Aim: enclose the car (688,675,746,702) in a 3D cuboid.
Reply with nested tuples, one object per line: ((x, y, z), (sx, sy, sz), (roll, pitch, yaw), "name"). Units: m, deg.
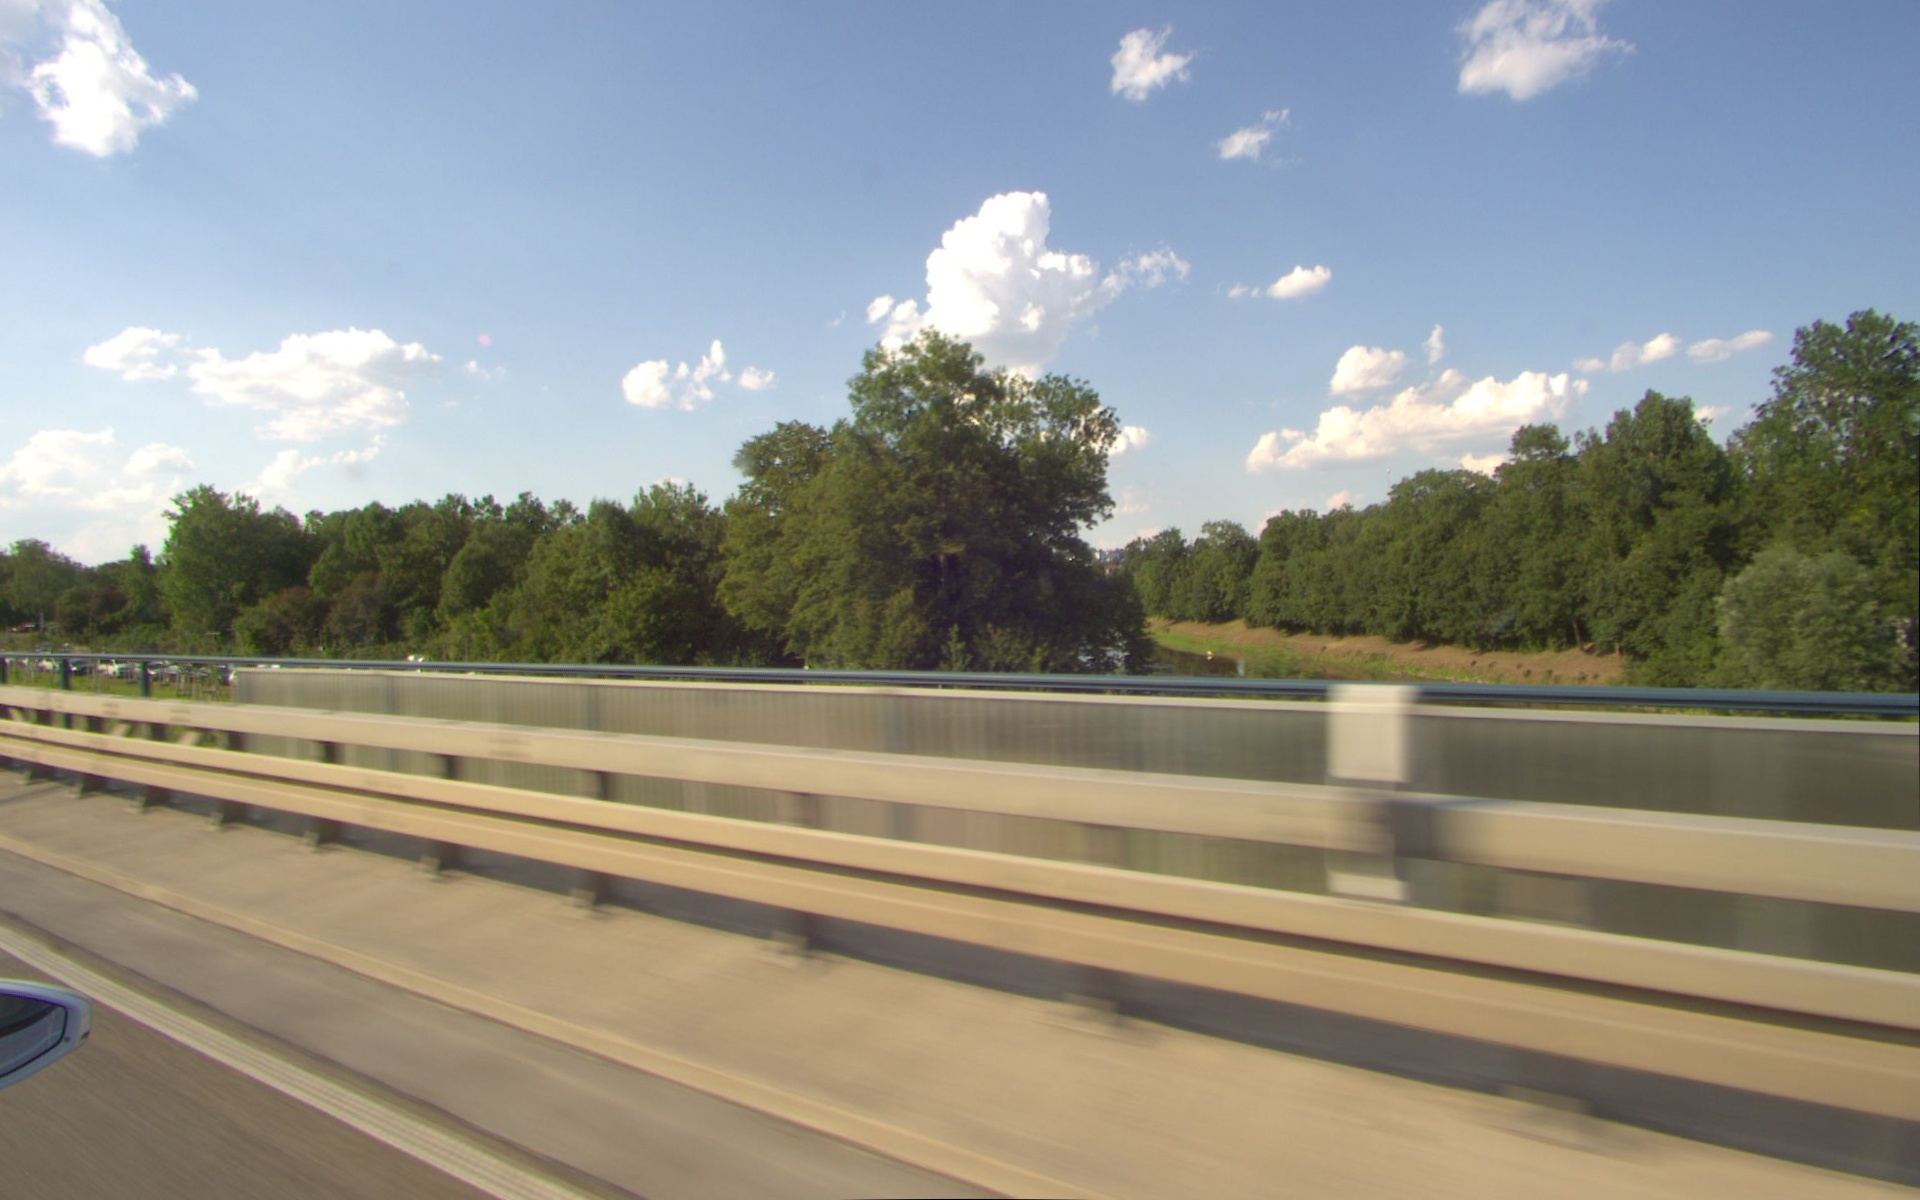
((-15.986, 5.821, 65.980), (3.617, 1.516, 1.658), (-1, 0, -13), "car")

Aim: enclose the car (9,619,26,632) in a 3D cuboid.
((-154.719, 4.145, 164.342), (1.878, 1.711, 5.036), (-4, 4, -43), "car")

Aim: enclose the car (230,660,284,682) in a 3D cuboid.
((-58.739, 5.936, 83.674), (4.186, 1.503, 1.817), (0, 2, 25), "car")

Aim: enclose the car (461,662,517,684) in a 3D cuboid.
((-36.152, 5.560, 76.803), (4.156, 1.516, 1.654), (-1, 0, 27), "car")

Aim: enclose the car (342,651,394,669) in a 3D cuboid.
((-56.469, 5.700, 95.601), (1.590, 1.475, 4.236), (1, 0, 22), "car")

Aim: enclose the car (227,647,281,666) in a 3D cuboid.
((-72.093, 5.784, 102.330), (1.803, 1.765, 4.236), (1, -1, 23), "car")

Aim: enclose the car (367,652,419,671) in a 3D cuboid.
((-53.522, 5.802, 94.557), (1.590, 1.475, 4.235), (1, 1, 22), "car")

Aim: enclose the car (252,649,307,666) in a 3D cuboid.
((-67.246, 5.686, 99.063), (1.742, 1.517, 4.236), (1, -1, 23), "car")

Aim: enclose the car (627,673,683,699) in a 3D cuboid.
((-20.608, 5.783, 67.624), (3.779, 1.516, 1.649), (-1, 0, 36), "car")

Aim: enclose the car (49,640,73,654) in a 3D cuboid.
((-109.768, 5.749, 122.268), (3.899, 1.418, 1.692), (-1, 2, 41), "car")

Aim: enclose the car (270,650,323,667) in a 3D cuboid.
((-64.803, 5.729, 97.864), (1.590, 1.475, 4.237), (0, -1, 22), "car")

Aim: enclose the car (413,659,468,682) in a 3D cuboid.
((-41.445, 5.572, 79.831), (4.638, 1.688, 1.652), (-1, 0, 30), "car")

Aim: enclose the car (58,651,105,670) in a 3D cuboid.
((-86.570, 5.906, 98.645), (4.708, 1.503, 1.888), (1, 4, 29), "car")

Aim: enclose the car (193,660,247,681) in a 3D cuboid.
((-63.379, 6.023, 85.725), (4.323, 1.503, 1.817), (0, 2, 25), "car")

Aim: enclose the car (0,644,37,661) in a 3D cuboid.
((-105.174, 5.852, 111.828), (4.713, 1.581, 1.887), (1, 4, 32), "car")

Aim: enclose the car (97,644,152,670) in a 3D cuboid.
((-78.821, 5.346, 94.467), (5.296, 2.046, 2.115), (1, 4, 29), "car")

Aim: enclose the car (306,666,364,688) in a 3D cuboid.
((-48.850, 5.995, 78.219), (4.186, 1.420, 1.817), (0, 2, 25), "car")
